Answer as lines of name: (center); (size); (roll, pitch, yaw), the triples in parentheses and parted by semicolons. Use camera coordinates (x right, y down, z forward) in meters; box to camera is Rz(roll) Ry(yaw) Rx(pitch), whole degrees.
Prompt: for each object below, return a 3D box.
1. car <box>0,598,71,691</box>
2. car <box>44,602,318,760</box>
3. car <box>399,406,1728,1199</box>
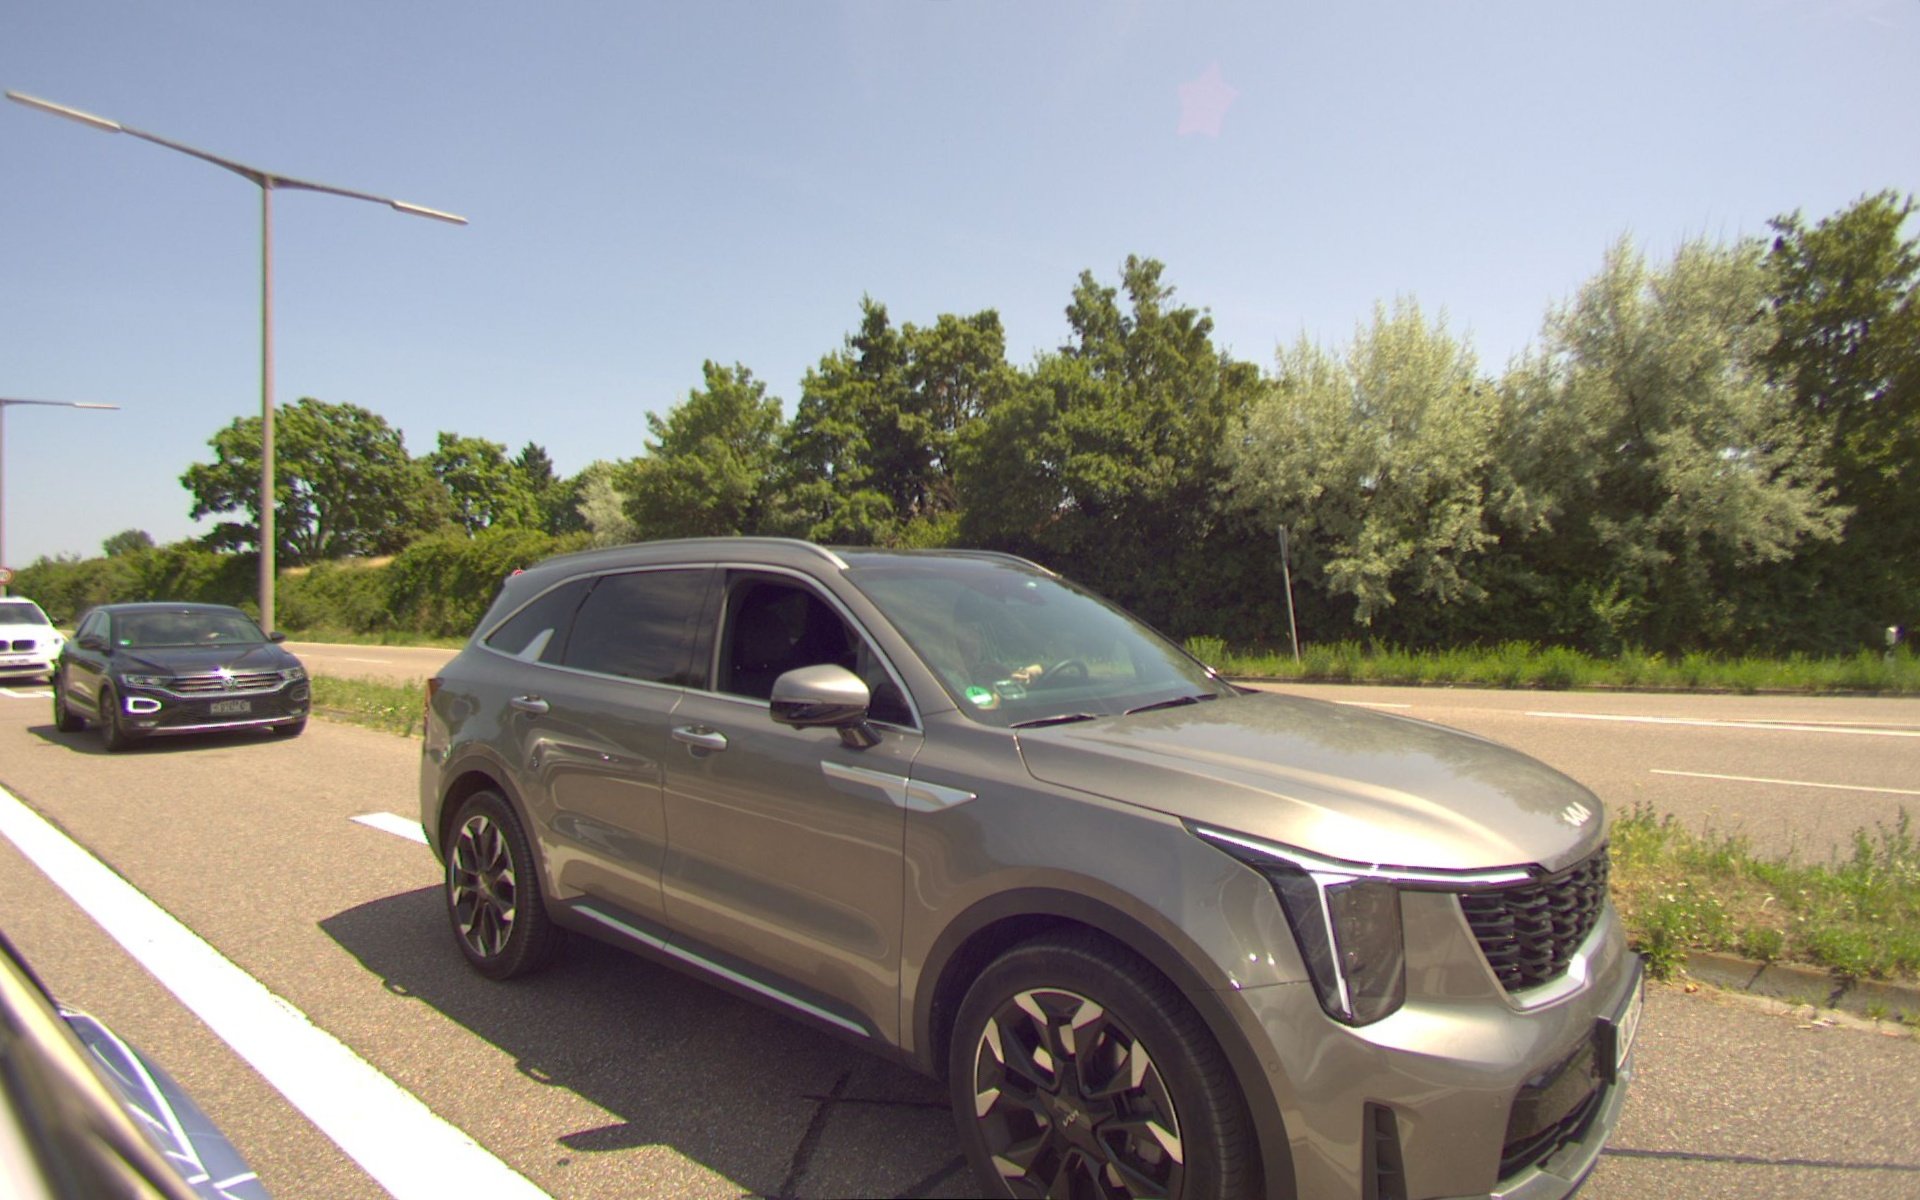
car: (-18.978, 0.805, 19.707); (3.998, 1.684, 1.897); (0, -1, 40)
car: (-9.108, 0.804, 11.715); (3.997, 1.511, 1.731); (-1, 0, 41)
car: (-0.152, 0.590, 3.614); (4.528, 1.681, 1.762); (-1, -1, 40)
